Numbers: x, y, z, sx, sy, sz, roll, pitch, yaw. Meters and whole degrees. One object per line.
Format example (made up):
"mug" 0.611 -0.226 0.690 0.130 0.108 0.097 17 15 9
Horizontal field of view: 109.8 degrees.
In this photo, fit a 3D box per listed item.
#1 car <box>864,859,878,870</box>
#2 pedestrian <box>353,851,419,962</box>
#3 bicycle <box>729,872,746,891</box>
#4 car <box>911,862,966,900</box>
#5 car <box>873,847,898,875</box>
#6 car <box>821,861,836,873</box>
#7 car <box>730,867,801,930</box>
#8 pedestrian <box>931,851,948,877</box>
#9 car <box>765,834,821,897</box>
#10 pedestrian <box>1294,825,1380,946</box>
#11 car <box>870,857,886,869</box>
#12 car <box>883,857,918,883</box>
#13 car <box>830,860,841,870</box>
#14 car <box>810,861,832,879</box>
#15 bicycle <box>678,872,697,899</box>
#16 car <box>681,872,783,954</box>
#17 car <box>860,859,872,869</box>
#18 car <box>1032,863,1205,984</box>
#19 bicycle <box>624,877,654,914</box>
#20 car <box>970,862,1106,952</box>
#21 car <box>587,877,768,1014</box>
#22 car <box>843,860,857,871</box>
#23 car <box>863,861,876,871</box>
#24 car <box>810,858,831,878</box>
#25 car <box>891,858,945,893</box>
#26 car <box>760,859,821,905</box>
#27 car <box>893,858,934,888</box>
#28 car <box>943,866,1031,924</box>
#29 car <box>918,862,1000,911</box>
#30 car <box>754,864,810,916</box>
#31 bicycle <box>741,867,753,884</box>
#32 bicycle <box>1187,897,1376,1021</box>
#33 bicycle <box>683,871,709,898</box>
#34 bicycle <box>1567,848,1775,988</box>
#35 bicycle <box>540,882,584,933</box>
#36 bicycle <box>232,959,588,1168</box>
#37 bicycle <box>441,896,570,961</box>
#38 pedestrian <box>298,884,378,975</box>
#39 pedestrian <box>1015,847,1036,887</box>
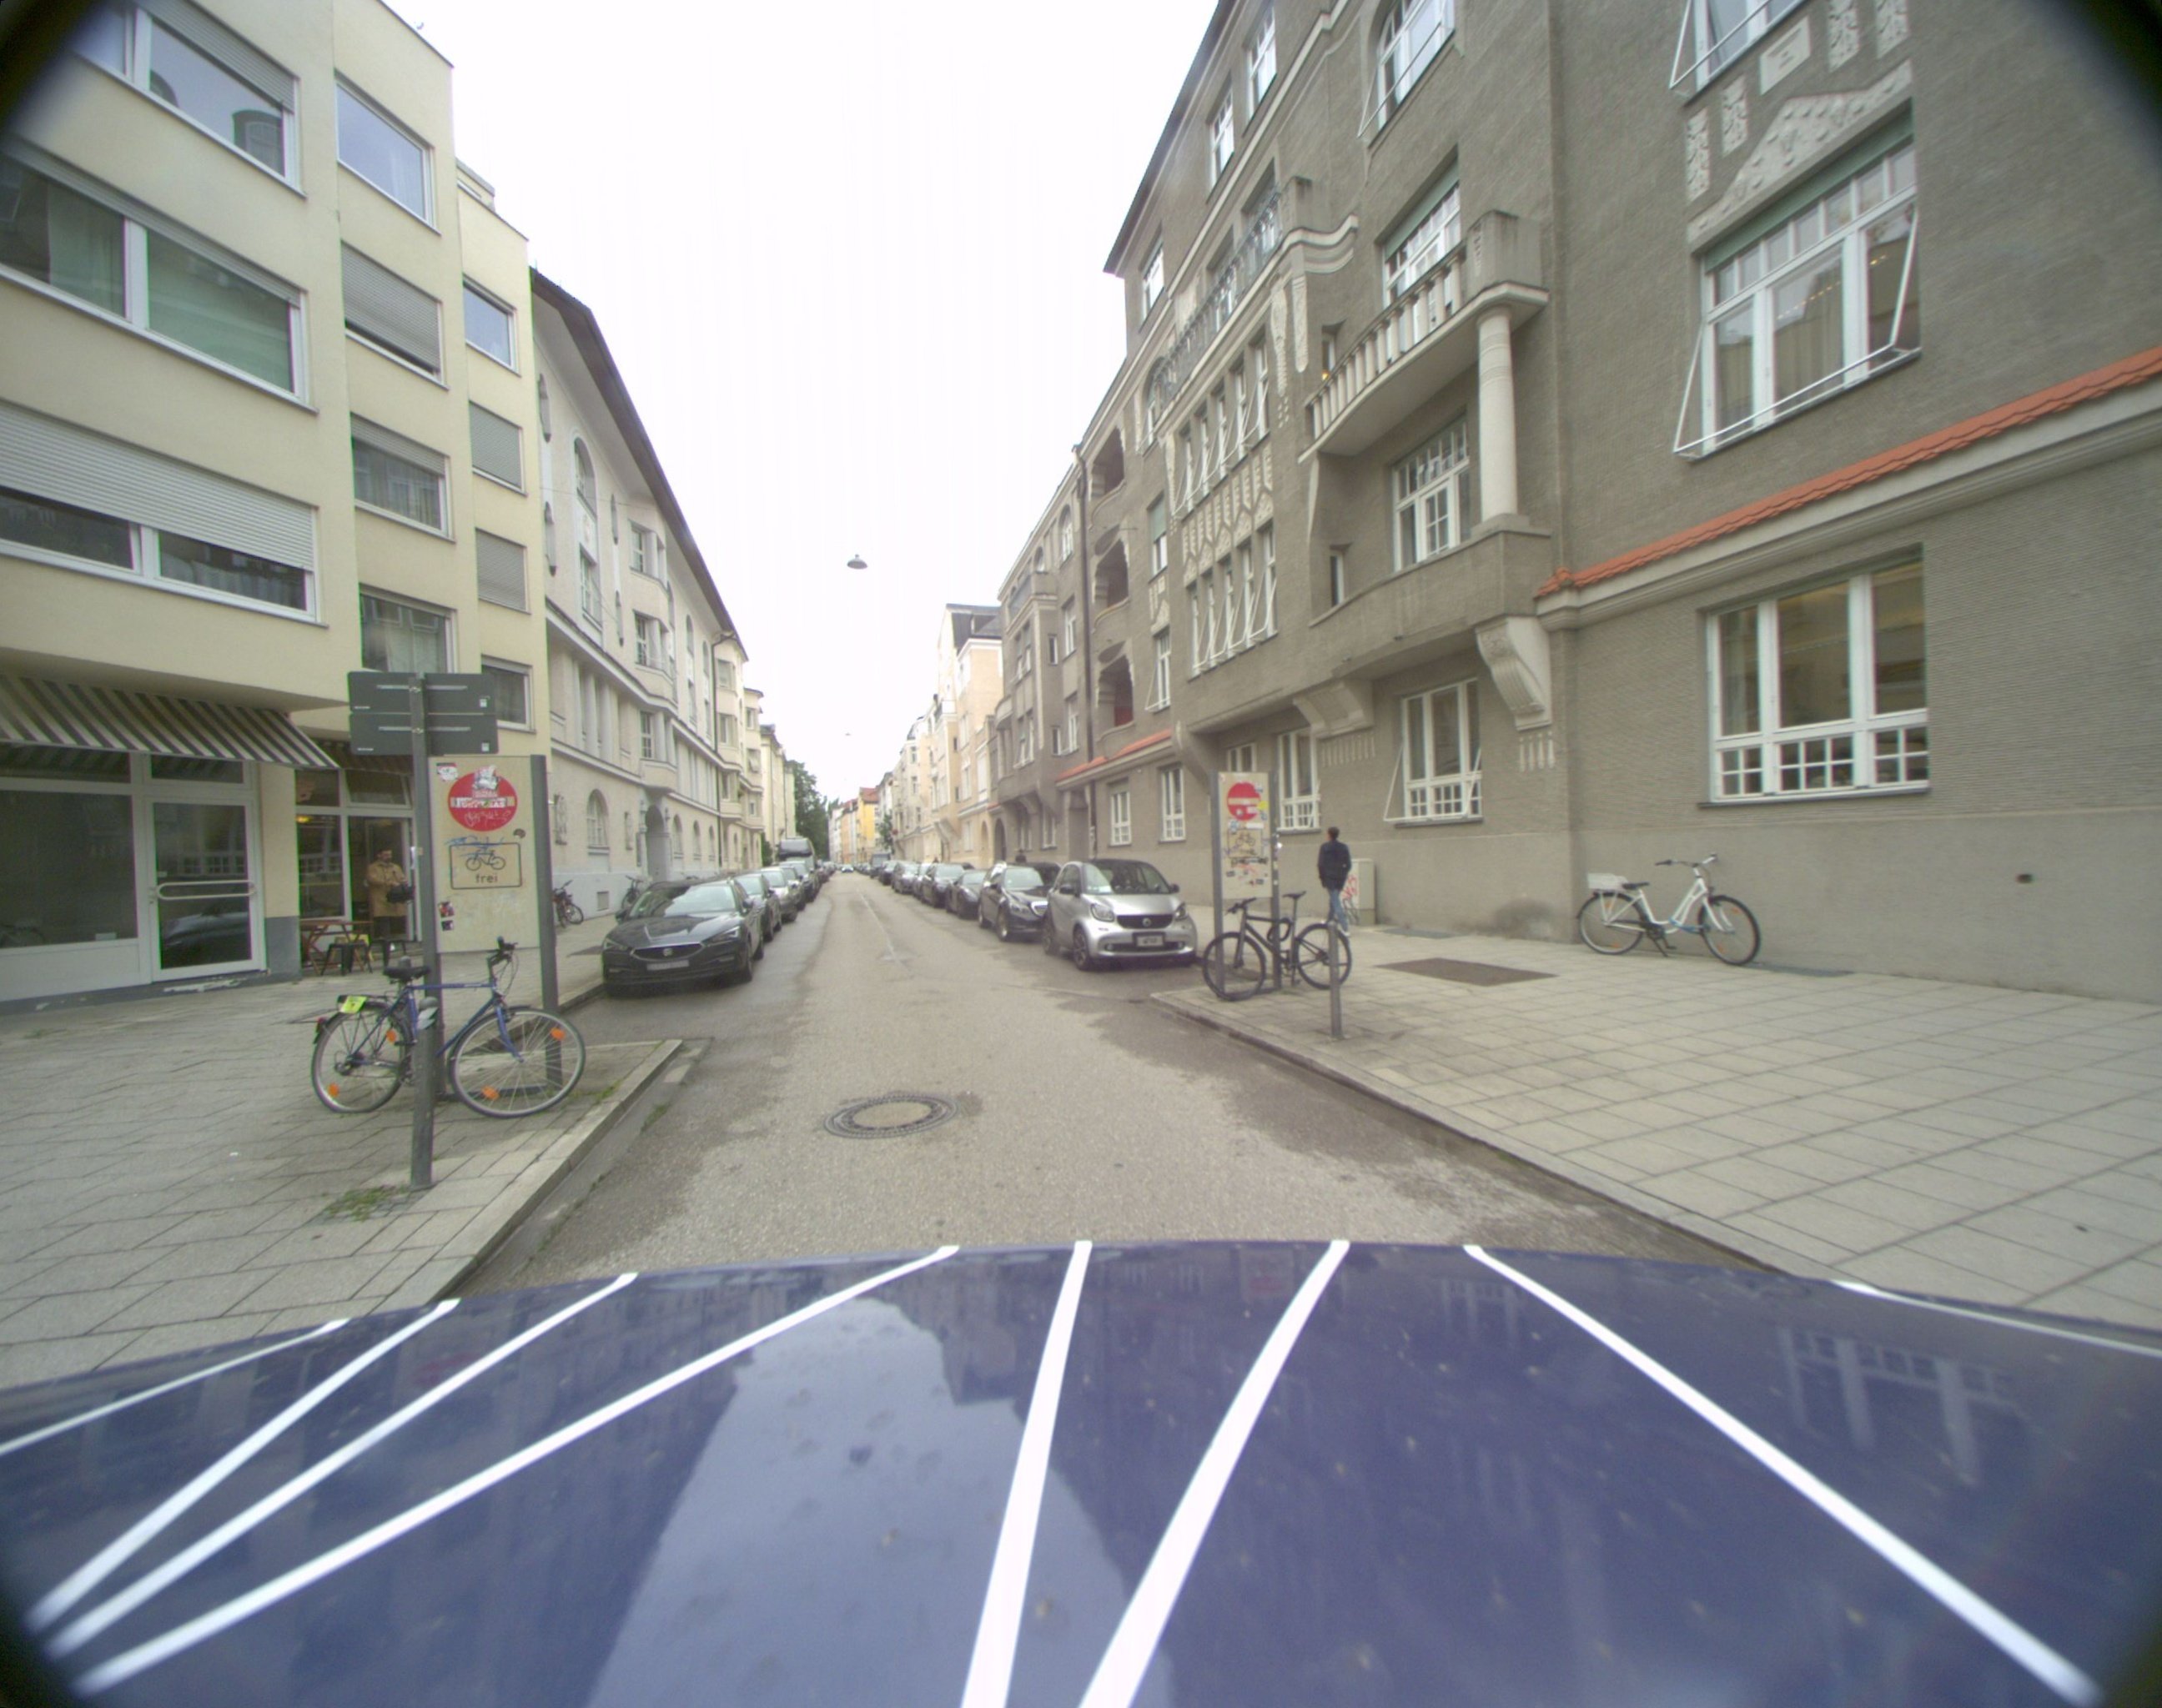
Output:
"car" -29.899 1.499 108.195 1.686 1.390 3.699 -3 1 -19
"pedestrian" -12.012 0.888 13.126 1.013 1.836 0.744 -1 -3 44
"bicycle" -21.749 1.726 48.123 0.643 1.111 1.965 -3 1 -17
"car" -5.986 1.061 31.574 1.812 1.423 4.433 -1 0 -16
"car" -19.148 0.685 74.378 2.107 2.606 5.670 -1 0 -16
"car" -32.250 1.686 96.964 1.685 1.375 3.639 -3 1 -17
"car" -9.023 1.193 21.872 1.641 1.528 3.848 -3 1 -21
"pedestrian" -9.775 0.698 52.482 0.996 1.719 0.938 -3 1 -18
"car" -15.130 0.535 40.240 2.263 2.943 6.122 -4 2 -18
"pedestrian" 3.995 0.469 11.900 0.842 1.777 0.935 -3 1 -15
"car" -24.869 1.064 93.130 1.685 1.390 3.699 -3 1 -17
"car" -12.381 1.044 51.924 1.958 1.649 4.610 -2 0 -17
"car" -42.572 1.939 131.656 1.685 1.671 3.639 -3 1 -17
"car" -23.669 1.419 69.176 1.733 1.458 3.732 -3 1 -17
"bicycle" -17.357 1.374 33.533 0.483 1.144 1.785 0 0 -20
"car" -7.637 1.199 16.941 1.640 1.463 3.849 -3 1 -19
"car" -38.333 1.781 135.316 1.686 1.628 3.699 -3 1 -19
"car" 0.436 0.923 11.498 1.710 1.506 2.907 -2 0 -16
"bicycle" -14.974 1.376 25.766 0.483 1.144 1.785 -3 1 -20
"car" -1.074 0.953 15.911 1.762 1.506 4.701 -2 0 -16
"car" -5.869 1.174 11.604 1.699 1.463 4.603 -3 1 -19
"car" -38.913 1.937 127.770 2.002 1.788 3.993 -3 1 -20
"car" -32.689 1.799 117.199 1.686 1.390 3.699 -3 1 -19
"car" -25.116 1.305 73.391 1.685 1.767 3.451 -3 1 -17
"car" -7.951 0.994 36.739 1.845 1.504 4.600 -2 0 -21
"car" -12.330 1.130 32.541 2.001 1.679 4.667 -4 1 -17
"car" -9.461 1.029 42.742 1.810 1.563 3.807 -3 1 -19
"car" -2.716 1.057 21.164 1.762 1.323 4.090 -2 0 -16
"car" -4.360 1.053 26.423 2.002 1.440 4.771 -2 0 -19
"car" -10.531 1.210 26.944 1.640 1.583 3.962 -3 1 -20
"bicycle" -23.981 1.542 54.544 0.494 1.111 1.965 -3 1 -17
"bicycle" 2.036 1.019 7.685 1.809 1.009 0.539 -4 1 -18
"bicycle" -18.131 1.430 35.823 0.483 1.144 1.786 -3 1 -9
"bicycle" 6.328 0.629 8.261 0.621 1.341 1.672 -3 1 -22
"bicycle" -13.155 1.333 19.292 0.565 1.185 1.674 0 0 -22
"bicycle" -4.126 1.233 4.716 1.794 1.079 0.666 -1 -1 10
"bicycle" -10.689 1.352 14.190 0.752 1.026 1.802 0 0 18
"pedestrian" -11.920 1.200 12.204 0.532 1.390 0.674 -2 1 16
"pedestrian" -2.578 0.611 35.234 0.719 1.807 0.729 -3 1 -18
